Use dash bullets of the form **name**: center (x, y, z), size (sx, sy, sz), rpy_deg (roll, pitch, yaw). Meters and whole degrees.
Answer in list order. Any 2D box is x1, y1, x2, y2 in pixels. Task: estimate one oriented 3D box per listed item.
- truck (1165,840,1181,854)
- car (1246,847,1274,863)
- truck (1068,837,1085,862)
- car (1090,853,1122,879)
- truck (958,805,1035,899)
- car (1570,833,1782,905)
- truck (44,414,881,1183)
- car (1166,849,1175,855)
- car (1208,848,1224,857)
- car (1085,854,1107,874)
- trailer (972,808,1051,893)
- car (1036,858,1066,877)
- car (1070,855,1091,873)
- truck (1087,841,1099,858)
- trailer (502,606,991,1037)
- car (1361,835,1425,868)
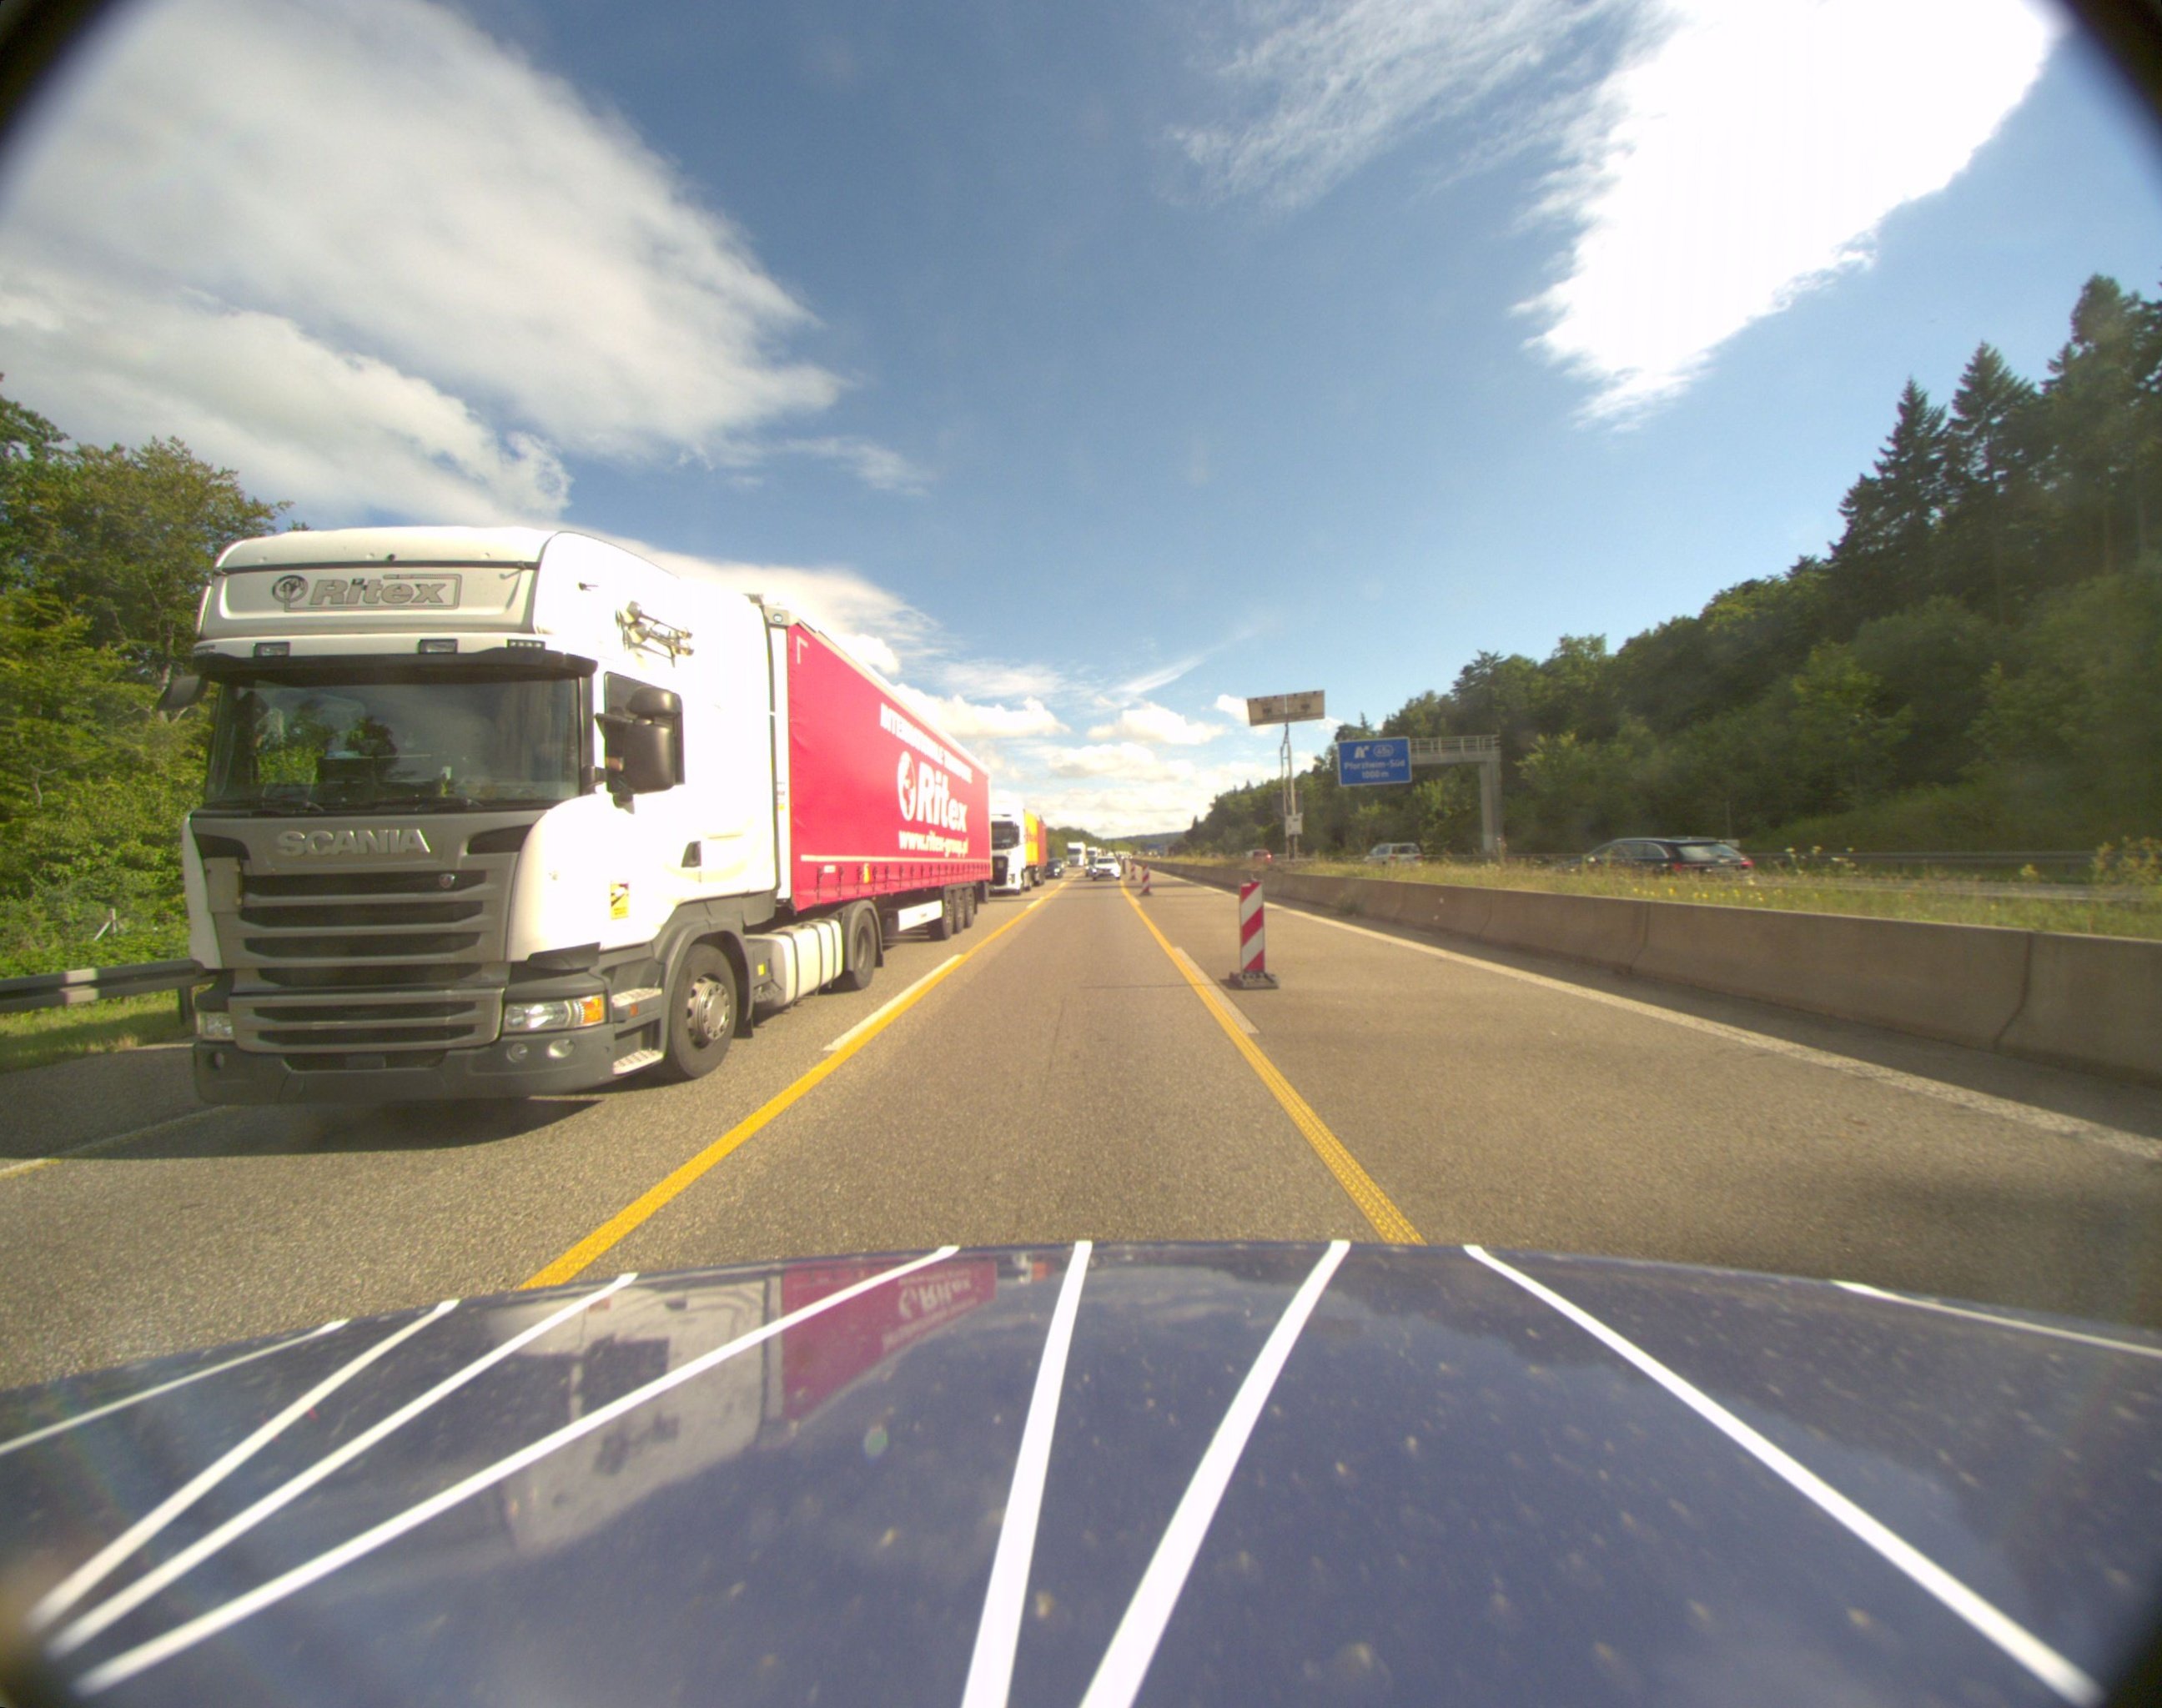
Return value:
- **truck**: center (30.352, -2.200, 250.665), size (3.844, 4.350, 13.052), rpy_deg (-2, 1, 2)
- **car**: center (17.164, 0.079, 73.009), size (1.665, 1.379, 3.911), rpy_deg (-2, 1, 0)
- **truck**: center (-0.759, -0.717, 129.322), size (2.641, 4.092, 8.194), rpy_deg (-2, 0, 0)
- **car**: center (1.618, 0.779, 50.317), size (1.840, 1.528, 3.882), rpy_deg (-2, 1, -1)
- **truck**: center (-3.635, -0.111, 34.089), size (2.501, 3.759, 5.790), rpy_deg (-2, 1, 2)
- **car**: center (13.033, 0.276, 16.977), size (1.665, 1.379, 3.911), rpy_deg (-2, 1, 0)
- **truck**: center (-3.984, -0.283, 6.844), size (2.674, 3.936, 5.710), rpy_deg (-2, 0, 0)
- **car**: center (24.529, -0.619, 207.775), size (1.944, 1.455, 3.911), rpy_deg (-2, 1, 0)
- **car**: center (22.034, -0.233, 124.207), size (1.944, 1.455, 3.911), rpy_deg (-2, 1, 0)
- **car**: center (1.198, 0.750, 60.276), size (1.692, 1.471, 3.754), rpy_deg (-1, 1, 2)
- **trailer**: center (-3.379, -0.173, 40.483), size (2.477, 3.753, 12.137), rpy_deg (-2, 0, 2)
- **car**: center (-2.274, 1.016, 58.495), size (1.933, 1.342, 4.478), rpy_deg (-2, 0, 2)
- **car**: center (0.007, 0.900, 69.954), size (1.762, 1.471, 3.968), rpy_deg (-1, 1, 2)
- **truck**: center (3.120, -1.192, 199.601), size (2.640, 4.092, 8.197), rpy_deg (-2, 0, 4)
- **trailer**: center (-3.928, -0.310, 13.844), size (2.706, 3.945, 13.416), rpy_deg (-2, 0, 1)
- **car**: center (16.030, -0.145, 39.204), size (1.665, 1.572, 3.911), rpy_deg (-2, 1, 0)
